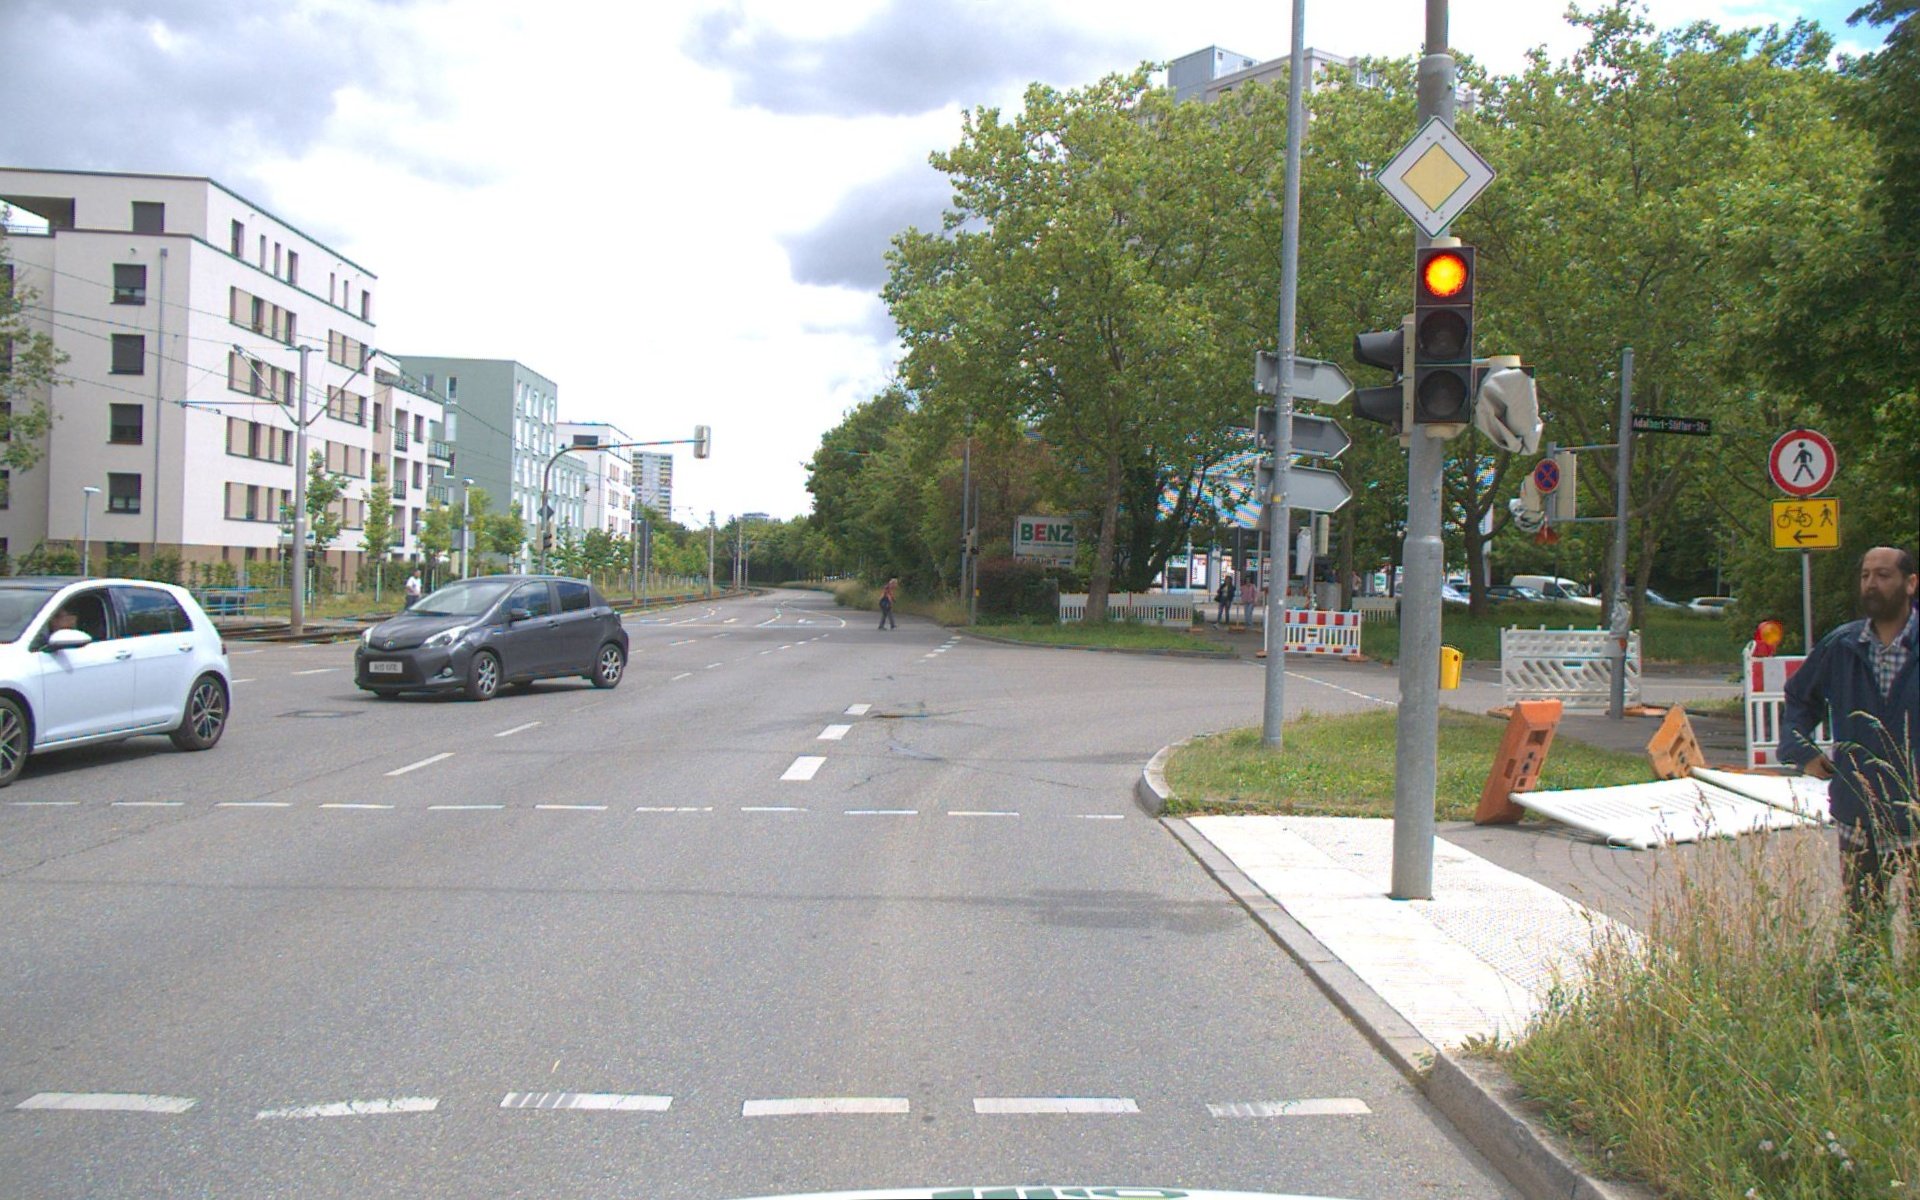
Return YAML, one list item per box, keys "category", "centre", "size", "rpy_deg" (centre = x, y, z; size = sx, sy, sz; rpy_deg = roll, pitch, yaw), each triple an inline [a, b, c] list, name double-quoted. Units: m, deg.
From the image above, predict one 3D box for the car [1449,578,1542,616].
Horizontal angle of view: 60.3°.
- category: "car"
  centre: [21.096, -0.116, 65.251]
  size: [1.464, 1.429, 3.375]
  rpy_deg: [1, 0, -30]

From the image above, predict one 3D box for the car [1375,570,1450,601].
- category: "car"
  centre: [21.469, -0.684, 78.551]
  size: [1.465, 1.429, 3.372]
  rpy_deg: [1, 0, -31]

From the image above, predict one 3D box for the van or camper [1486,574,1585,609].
- category: "van or camper"
  centre: [23.595, -0.335, 67.882]
  size: [1.499, 1.380, 3.732]
  rpy_deg: [1, 0, -33]

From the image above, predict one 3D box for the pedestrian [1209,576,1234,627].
- category: "pedestrian"
  centre: [7.857, 0.044, 49.713]
  size: [0.702, 1.515, 0.700]
  rpy_deg: [1, -1, 10]

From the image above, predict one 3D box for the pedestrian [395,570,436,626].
- category: "pedestrian"
  centre: [-16.068, -0.056, 48.807]
  size: [0.778, 1.614, 0.850]
  rpy_deg: [1, -1, 24]

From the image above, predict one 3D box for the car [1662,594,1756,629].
- category: "car"
  centre: [34.181, 0.519, 75.542]
  size: [1.708, 1.526, 3.712]
  rpy_deg: [1, 0, -27]

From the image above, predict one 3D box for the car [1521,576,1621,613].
- category: "car"
  centre: [25.541, -0.245, 69.248]
  size: [1.465, 1.491, 3.851]
  rpy_deg: [1, 0, -31]

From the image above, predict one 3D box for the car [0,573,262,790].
- category: "car"
  centre: [-7.274, 0.535, 12.656]
  size: [1.724, 1.466, 4.281]
  rpy_deg: [1, 1, 5]

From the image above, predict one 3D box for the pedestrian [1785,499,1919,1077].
- category: "pedestrian"
  centre: [3.164, 0.573, 5.487]
  size: [0.712, 1.770, 0.954]
  rpy_deg: [1, 0, 28]

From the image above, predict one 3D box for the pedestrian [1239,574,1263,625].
- category: "pedestrian"
  centre: [8.701, -0.010, 49.457]
  size: [0.671, 1.515, 0.700]
  rpy_deg: [1, -1, 13]

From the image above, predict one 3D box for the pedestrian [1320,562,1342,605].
- category: "pedestrian"
  centre: [17.572, -0.779, 78.375]
  size: [0.789, 2.037, 0.852]
  rpy_deg: [1, -1, -5]

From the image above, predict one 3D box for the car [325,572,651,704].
- category: "car"
  centre: [-5.899, 0.426, 21.162]
  size: [1.743, 1.495, 4.040]
  rpy_deg: [1, 1, 26]

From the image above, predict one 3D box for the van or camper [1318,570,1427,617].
- category: "van or camper"
  centre: [15.490, -0.253, 62.231]
  size: [1.819, 1.713, 3.964]
  rpy_deg: [0, 1, -28]

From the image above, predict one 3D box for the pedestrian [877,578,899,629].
- category: "pedestrian"
  centre: [-2.245, 0.110, 51.849]
  size: [0.640, 1.565, 0.772]
  rpy_deg: [1, -1, -1]
